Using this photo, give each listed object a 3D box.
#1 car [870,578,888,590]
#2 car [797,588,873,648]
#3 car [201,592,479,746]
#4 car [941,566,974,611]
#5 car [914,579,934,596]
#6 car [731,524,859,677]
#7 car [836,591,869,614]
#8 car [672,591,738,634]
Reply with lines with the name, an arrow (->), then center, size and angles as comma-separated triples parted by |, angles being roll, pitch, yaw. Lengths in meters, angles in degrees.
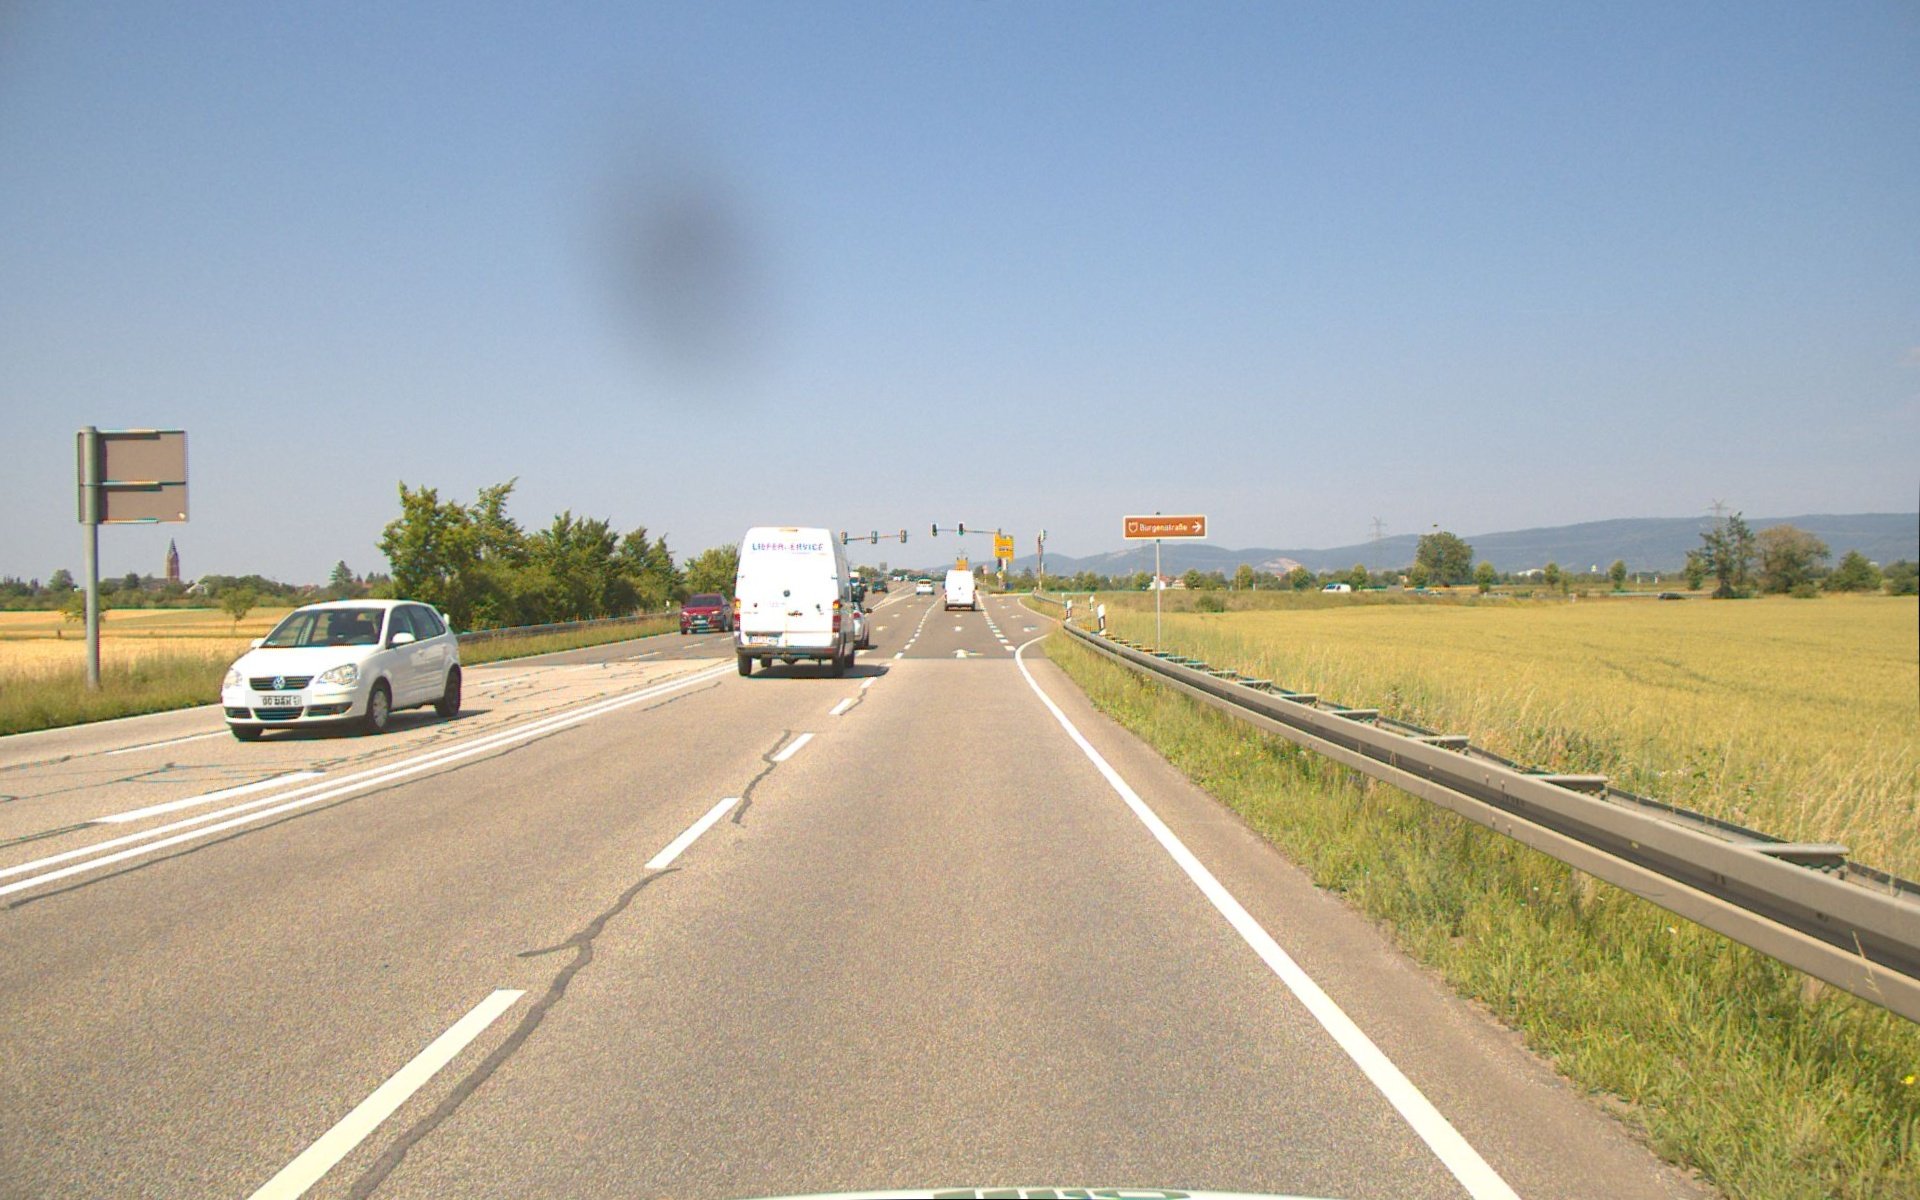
car -> -9.633, -1.895, 196.895 | 1.819, 1.448, 4.000 | 0, 0, 1
car -> -3.383, 0.456, 45.437 | 1.762, 1.534, 4.196 | -1, 1, 0
car -> -7.134, 0.721, 19.488 | 1.713, 1.467, 4.082 | -2, 1, -1
car -> -0.161, -0.720, 105.707 | 1.953, 2.742, 4.969 | -1, 0, 0
car -> -3.751, -1.272, 171.837 | 1.953, 1.733, 4.275 | 0, 0, 0
car -> -3.065, 0.028, 31.878 | 1.998, 2.666, 5.739 | 0, 0, -1
car -> -7.316, 0.156, 112.970 | 1.819, 1.448, 4.001 | -2, 0, 1
car -> -10.414, 0.484, 67.935 | 1.953, 1.589, 4.311 | -2, 1, 0
